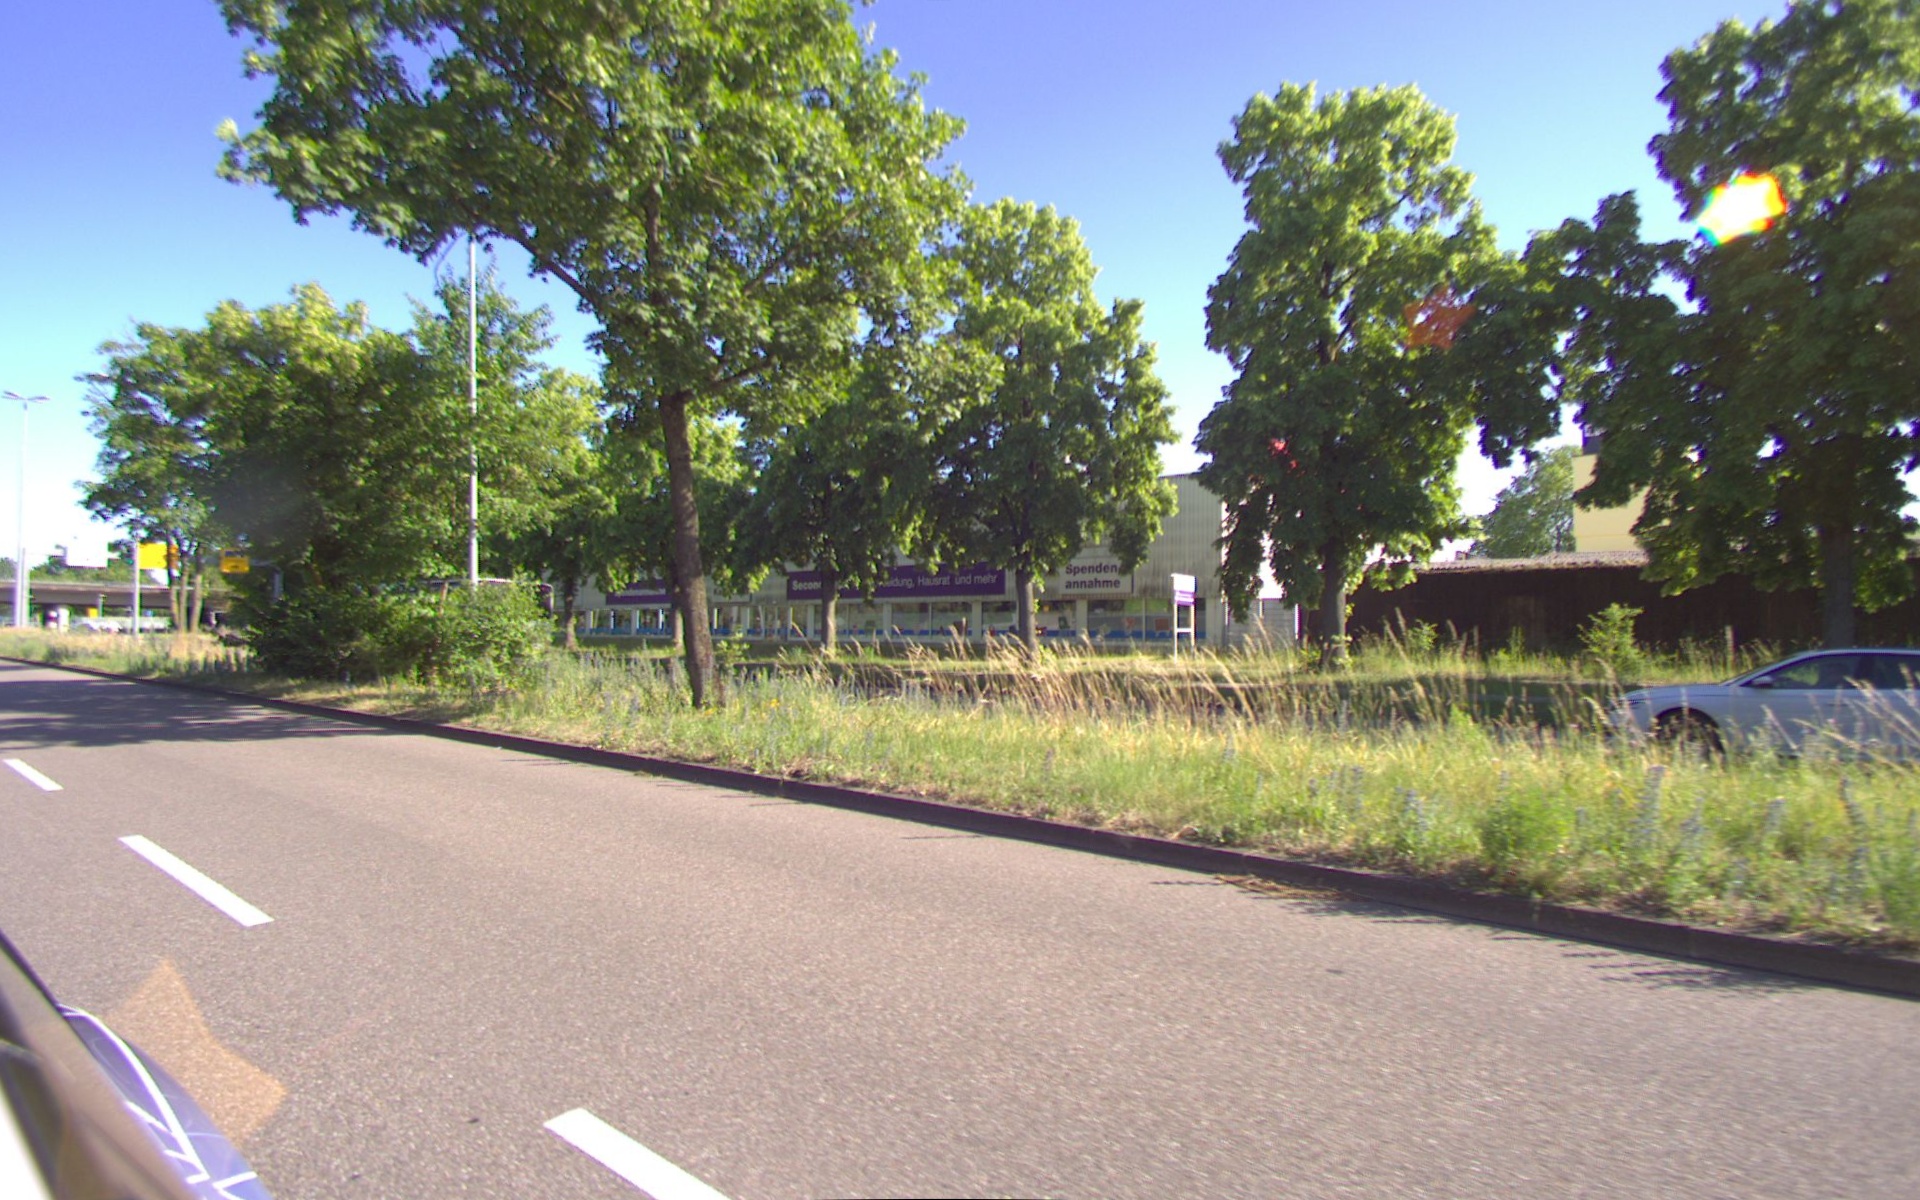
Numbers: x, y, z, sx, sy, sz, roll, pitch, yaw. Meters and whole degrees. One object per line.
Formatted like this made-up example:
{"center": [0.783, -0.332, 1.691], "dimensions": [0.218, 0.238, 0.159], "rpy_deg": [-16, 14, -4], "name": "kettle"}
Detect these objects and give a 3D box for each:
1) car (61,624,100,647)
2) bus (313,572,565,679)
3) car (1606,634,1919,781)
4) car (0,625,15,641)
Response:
{"center": [-71.223, 2.862, 81.961], "dimensions": [4.162, 1.760, 1.689], "rpy_deg": [-1, -2, 40], "name": "car"}
{"center": [-16.201, 0.854, 30.885], "dimensions": [11.079, 2.742, 2.693], "rpy_deg": [-2, -5, 40], "name": "bus"}
{"center": [10.186, 1.188, 11.552], "dimensions": [4.527, 1.532, 1.737], "rpy_deg": [-2, -5, 41], "name": "car"}
{"center": [-103.100, 3.558, 108.611], "dimensions": [4.626, 1.710, 1.922], "rpy_deg": [-2, -4, 41], "name": "car"}
